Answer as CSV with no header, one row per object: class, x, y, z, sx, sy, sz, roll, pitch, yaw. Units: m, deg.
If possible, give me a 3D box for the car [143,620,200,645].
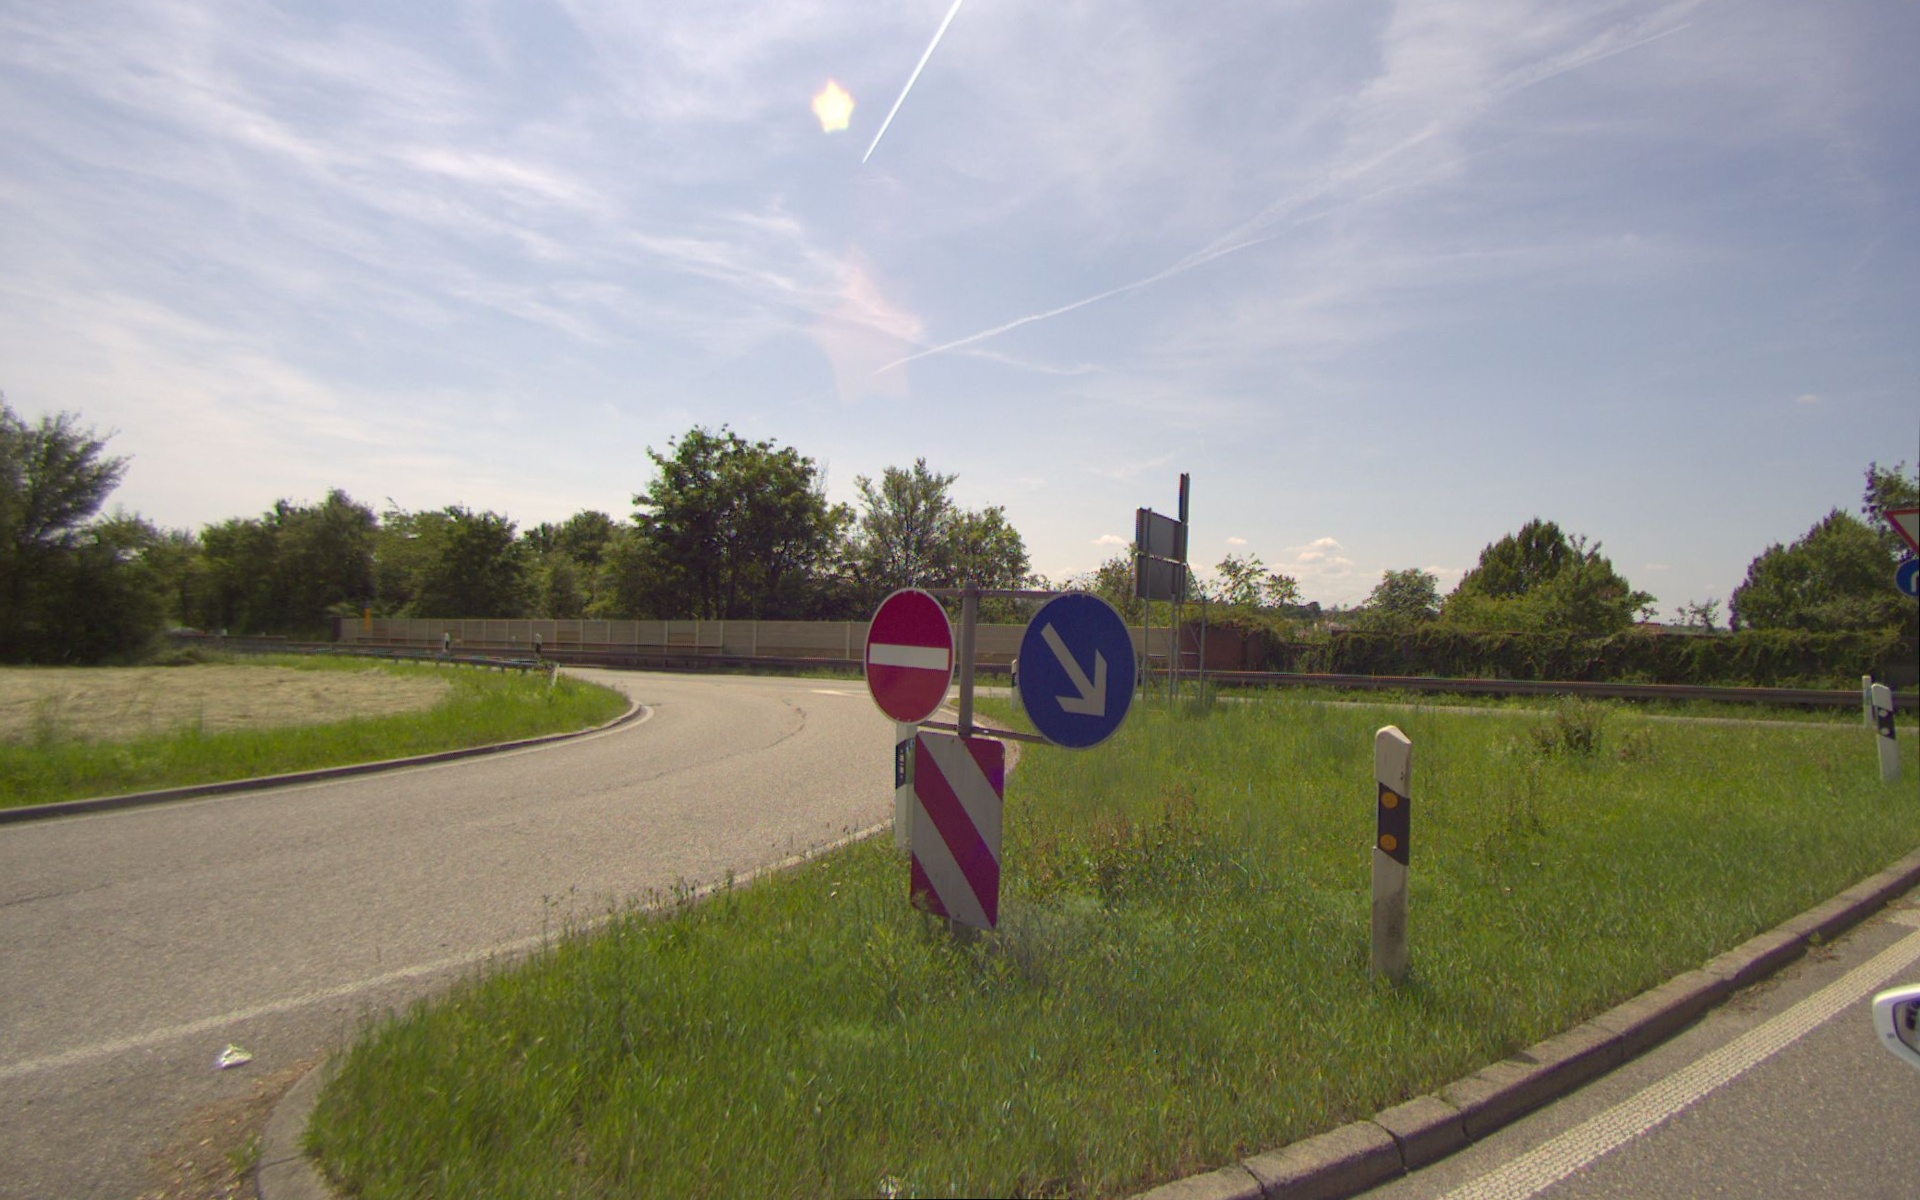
car,-52.087,2.113,66.348,4.037,1.559,1.751,0,-1,33
